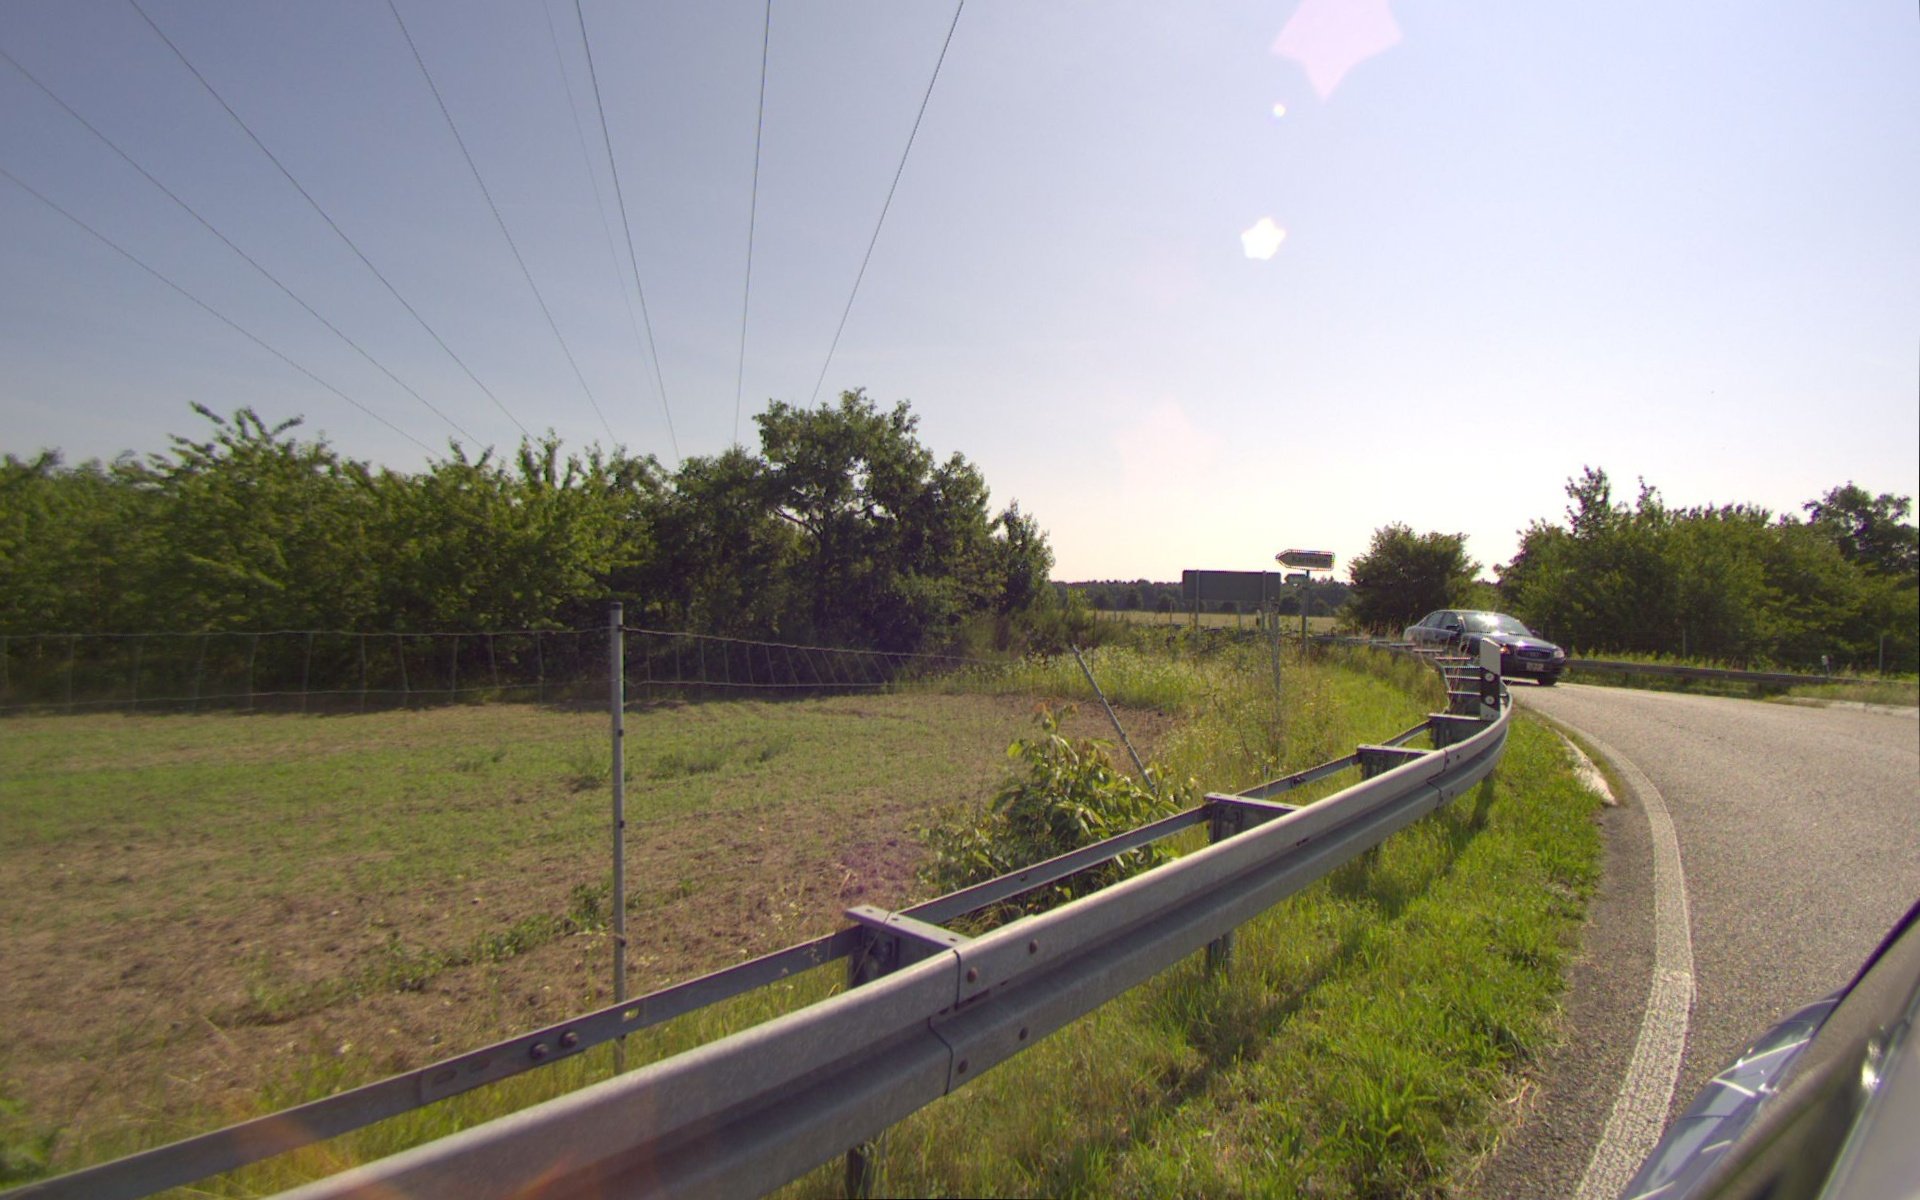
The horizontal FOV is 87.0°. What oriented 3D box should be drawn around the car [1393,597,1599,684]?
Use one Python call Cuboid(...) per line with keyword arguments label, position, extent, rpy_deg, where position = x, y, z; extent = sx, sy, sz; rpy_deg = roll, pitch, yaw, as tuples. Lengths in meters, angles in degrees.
Cuboid(label="car", position=(10.843, 0.780, 20.858), extent=(1.851, 1.475, 4.076), rpy_deg=(4, -1, -2))
